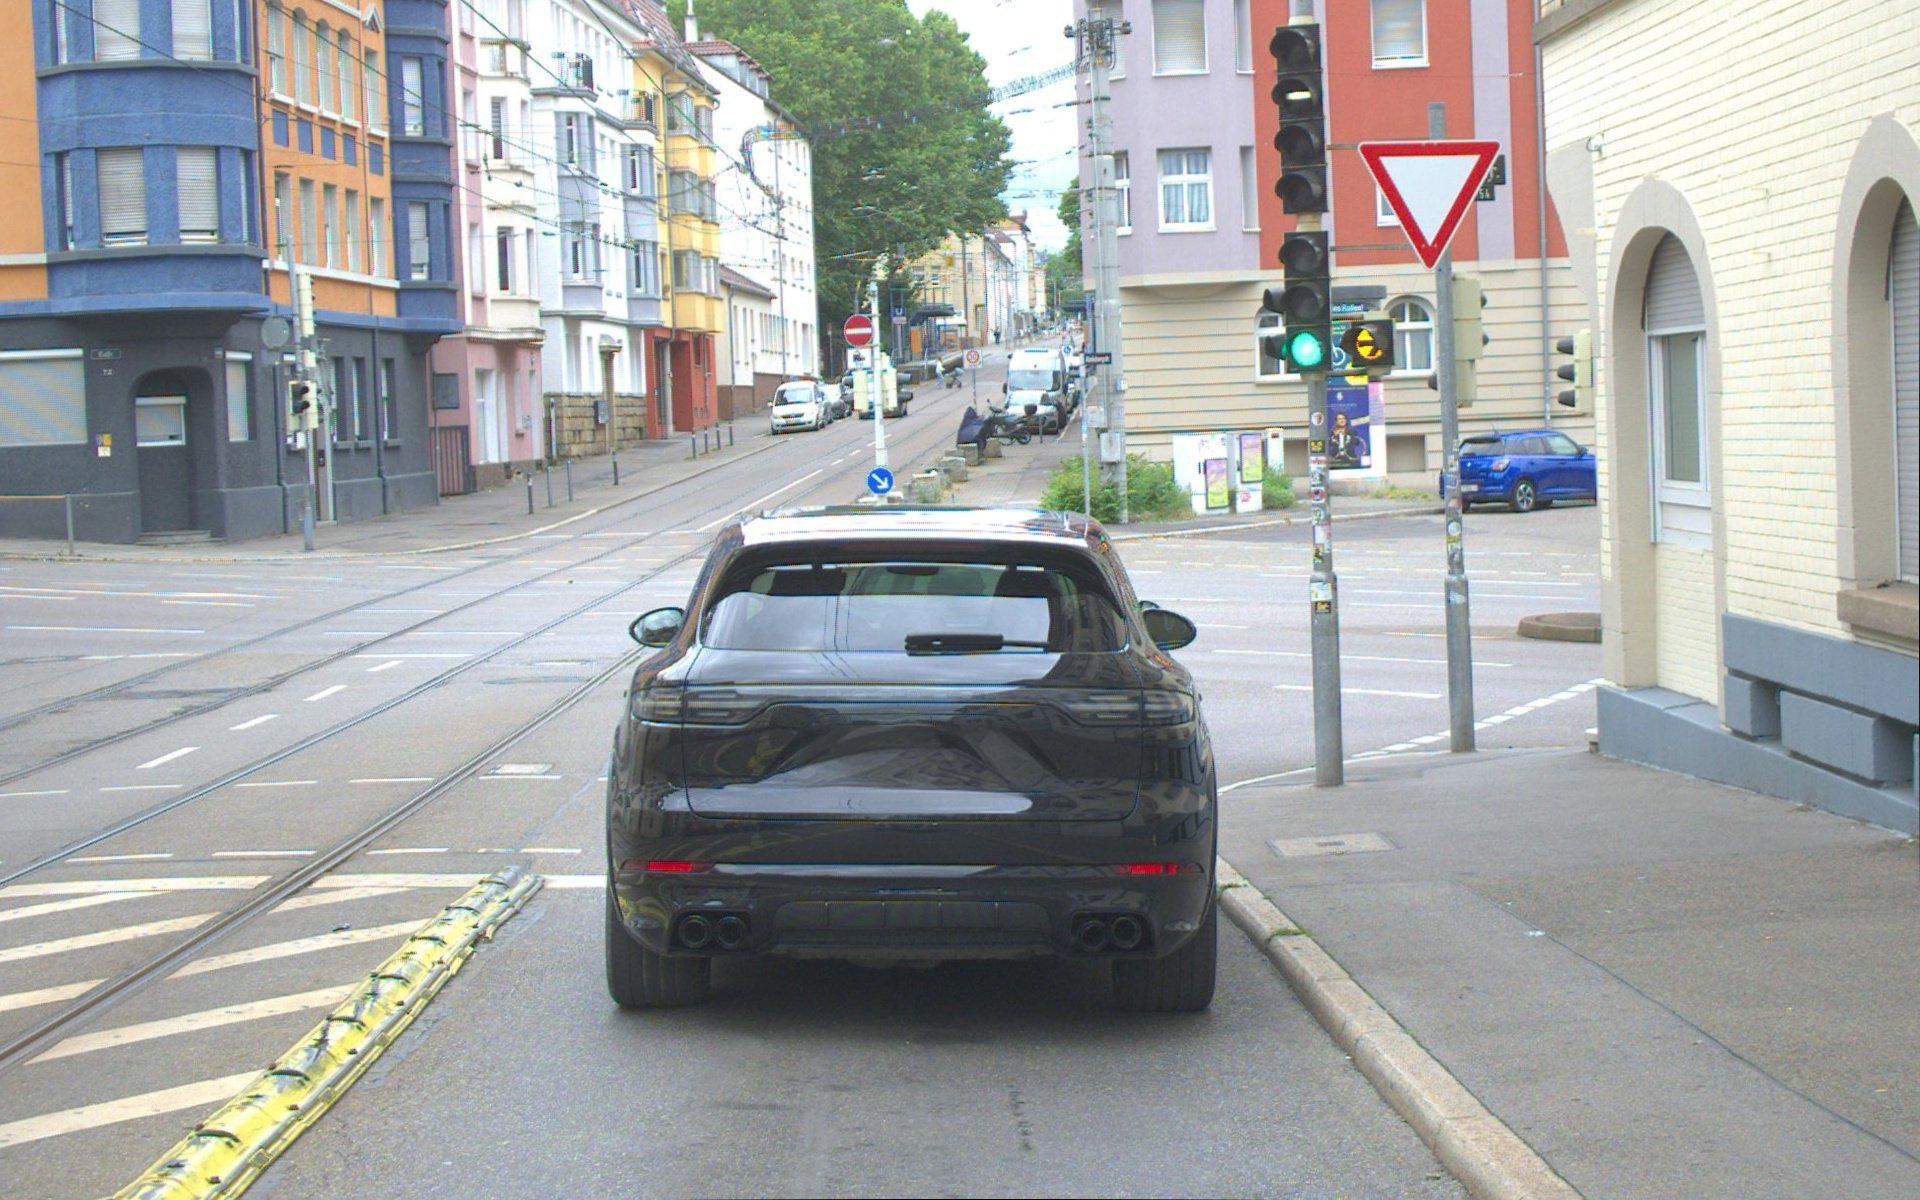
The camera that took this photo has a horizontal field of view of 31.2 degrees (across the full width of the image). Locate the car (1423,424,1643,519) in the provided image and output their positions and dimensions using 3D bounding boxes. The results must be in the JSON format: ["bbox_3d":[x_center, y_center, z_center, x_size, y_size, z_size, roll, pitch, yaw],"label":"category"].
[{"bbox_3d":[10.807,-2.449,64.714,4.130,1.529,1.918,-6,7,-41],"label":"car"}]

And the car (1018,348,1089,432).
[{"bbox_3d":[3.293,-7.365,120.416,2.267,2.880,4.769,1,4,4],"label":"car"}]

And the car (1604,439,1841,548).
[{"bbox_3d":[12.680,-1.799,57.058,4.131,1.529,1.917,-6,7,-44],"label":"car"}]

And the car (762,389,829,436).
[{"bbox_3d":[-6.027,-6.895,126.305,1.994,1.686,4.000,1,4,4],"label":"car"}]

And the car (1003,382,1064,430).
[{"bbox_3d":[2.451,-6.476,114.384,1.840,1.563,3.819,1,4,4],"label":"car"}]

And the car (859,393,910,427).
[{"bbox_3d":[-2.955,-7.506,135.667,1.686,1.322,3.662,1,4,4],"label":"car"}]

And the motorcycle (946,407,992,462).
[{"bbox_3d":[0.225,-4.364,90.670,0.859,1.321,2.185,-7,4,-5],"label":"motorcycle"}]

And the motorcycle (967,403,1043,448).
[{"bbox_3d":[1.327,-5.131,101.187,2.176,1.322,0.700,0,4,-6],"label":"motorcycle"}]

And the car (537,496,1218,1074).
[{"bbox_3d":[-0.097,0.484,12.473,2.024,1.636,4.356,1,2,4],"label":"car"}]

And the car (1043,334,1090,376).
[{"bbox_3d":[5.596,-12.873,180.600,2.267,2.175,4.769,1,4,4],"label":"car"}]
